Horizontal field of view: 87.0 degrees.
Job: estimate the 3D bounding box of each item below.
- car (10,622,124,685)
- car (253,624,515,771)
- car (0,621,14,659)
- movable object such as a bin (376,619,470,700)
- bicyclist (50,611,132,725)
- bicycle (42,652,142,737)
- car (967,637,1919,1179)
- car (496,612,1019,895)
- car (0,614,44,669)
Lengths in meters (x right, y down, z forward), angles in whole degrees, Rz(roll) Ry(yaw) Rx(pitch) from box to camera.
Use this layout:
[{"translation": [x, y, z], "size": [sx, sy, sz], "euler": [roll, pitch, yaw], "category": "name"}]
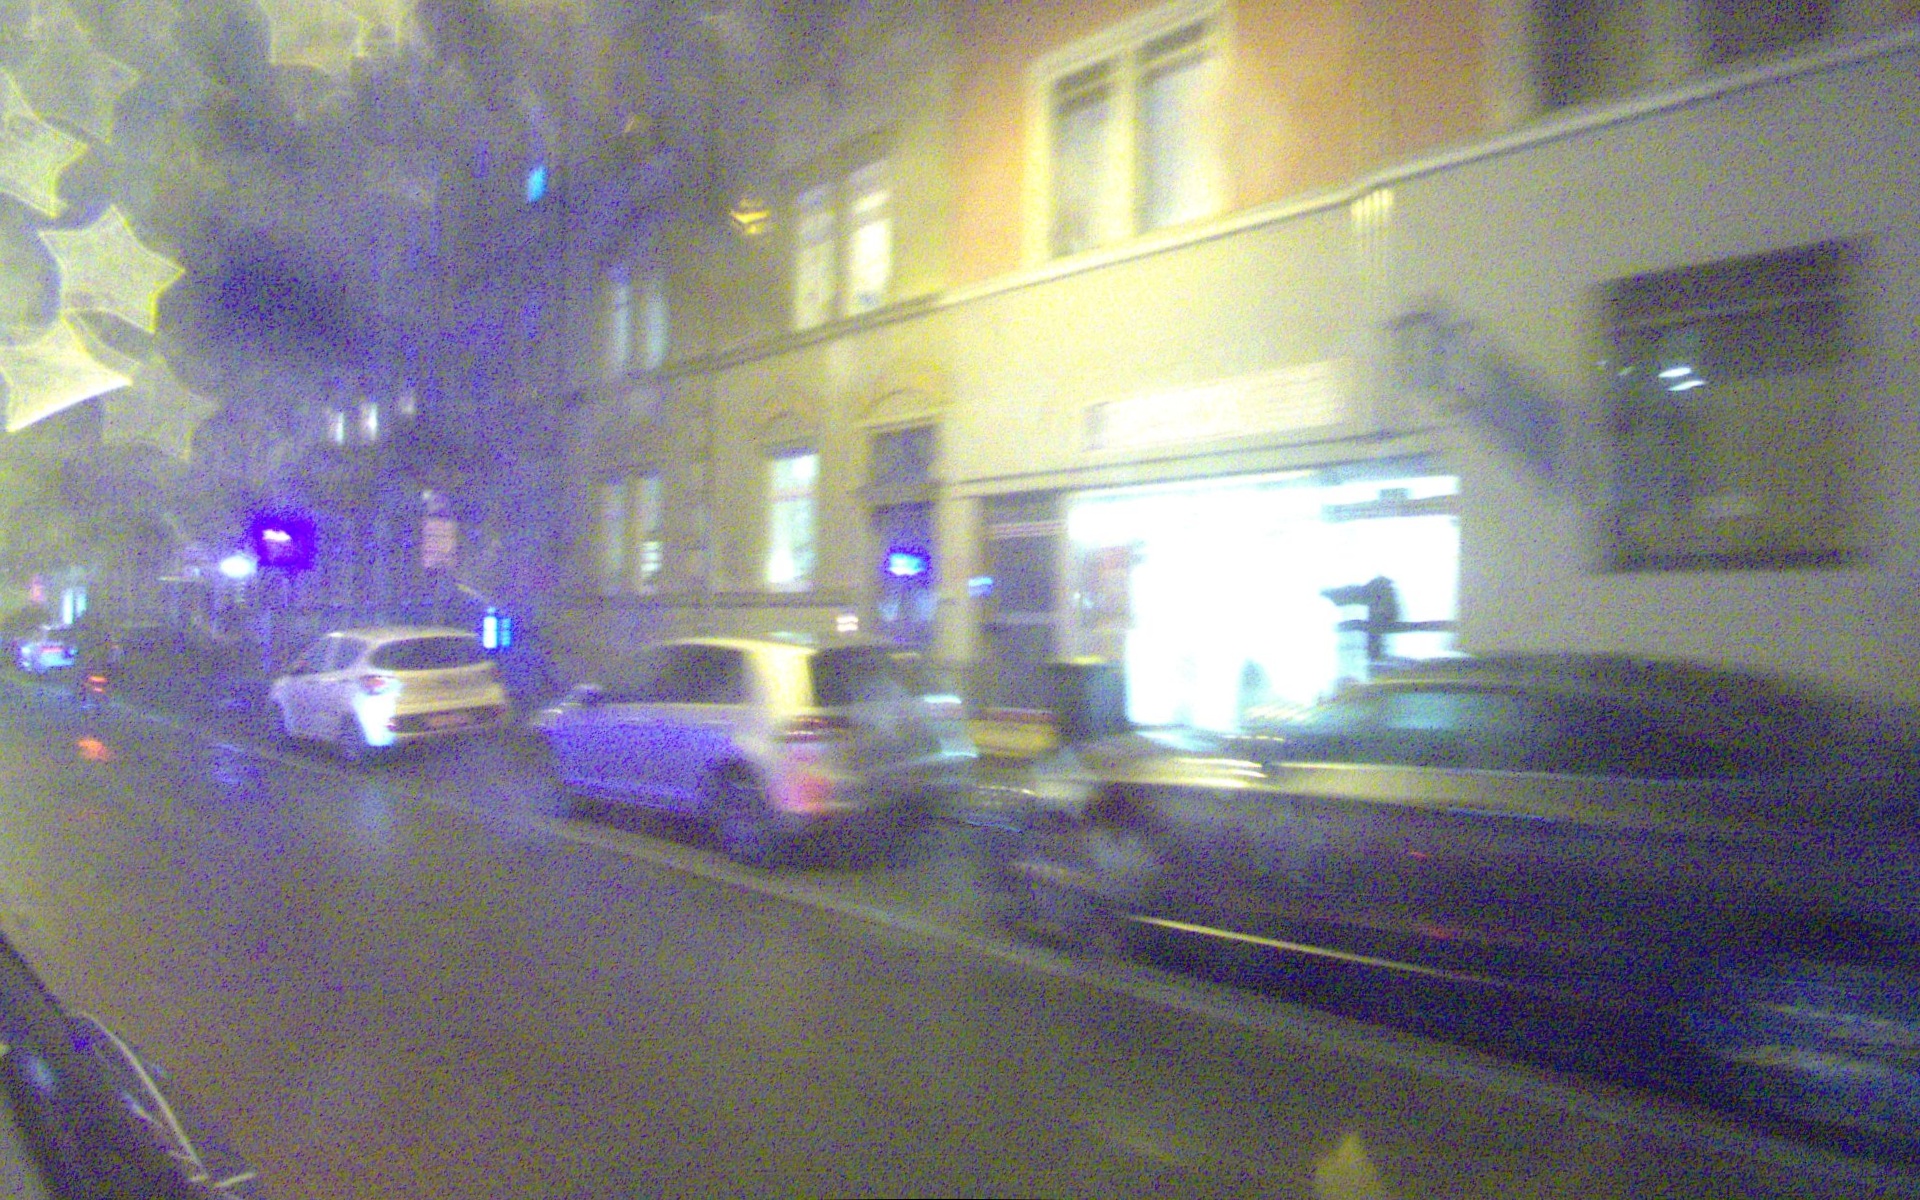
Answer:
[{"translation": [-24.264, 1.388, 27.451], "size": [4.770, 1.494, 1.749], "euler": [-2, 1, 42], "category": "car"}, {"translation": [-7.095, 1.052, 12.325], "size": [3.719, 1.502, 1.654], "euler": [-1, -1, 41], "category": "car"}, {"translation": [-38.102, 1.550, 39.381], "size": [3.718, 1.471, 1.552], "euler": [-2, -2, 42], "category": "car"}, {"translation": [-10.193, 1.105, 19.200], "size": [1.377, 1.465, 1.090], "euler": [-1, -3, 39], "category": "movable object such as a bin"}, {"translation": [-12.413, 0.955, 14.456], "size": [0.895, 1.568, 0.711], "euler": [-1, -3, 41], "category": "bicyclist"}, {"translation": [-12.378, 1.302, 14.403], "size": [2.347, 1.081, 0.720], "euler": [-1, -3, 41], "category": "bicycle"}, {"translation": [2.282, 0.876, 4.139], "size": [4.423, 1.400, 1.803], "euler": [-1, -2, 41], "category": "car"}, {"translation": [-1.713, 0.911, 7.702], "size": [4.132, 1.584, 1.756], "euler": [-1, -2, 41], "category": "car"}, {"translation": [-33.736, 1.431, 35.382], "size": [5.204, 1.843, 1.975], "euler": [-2, -2, 42], "category": "car"}]
